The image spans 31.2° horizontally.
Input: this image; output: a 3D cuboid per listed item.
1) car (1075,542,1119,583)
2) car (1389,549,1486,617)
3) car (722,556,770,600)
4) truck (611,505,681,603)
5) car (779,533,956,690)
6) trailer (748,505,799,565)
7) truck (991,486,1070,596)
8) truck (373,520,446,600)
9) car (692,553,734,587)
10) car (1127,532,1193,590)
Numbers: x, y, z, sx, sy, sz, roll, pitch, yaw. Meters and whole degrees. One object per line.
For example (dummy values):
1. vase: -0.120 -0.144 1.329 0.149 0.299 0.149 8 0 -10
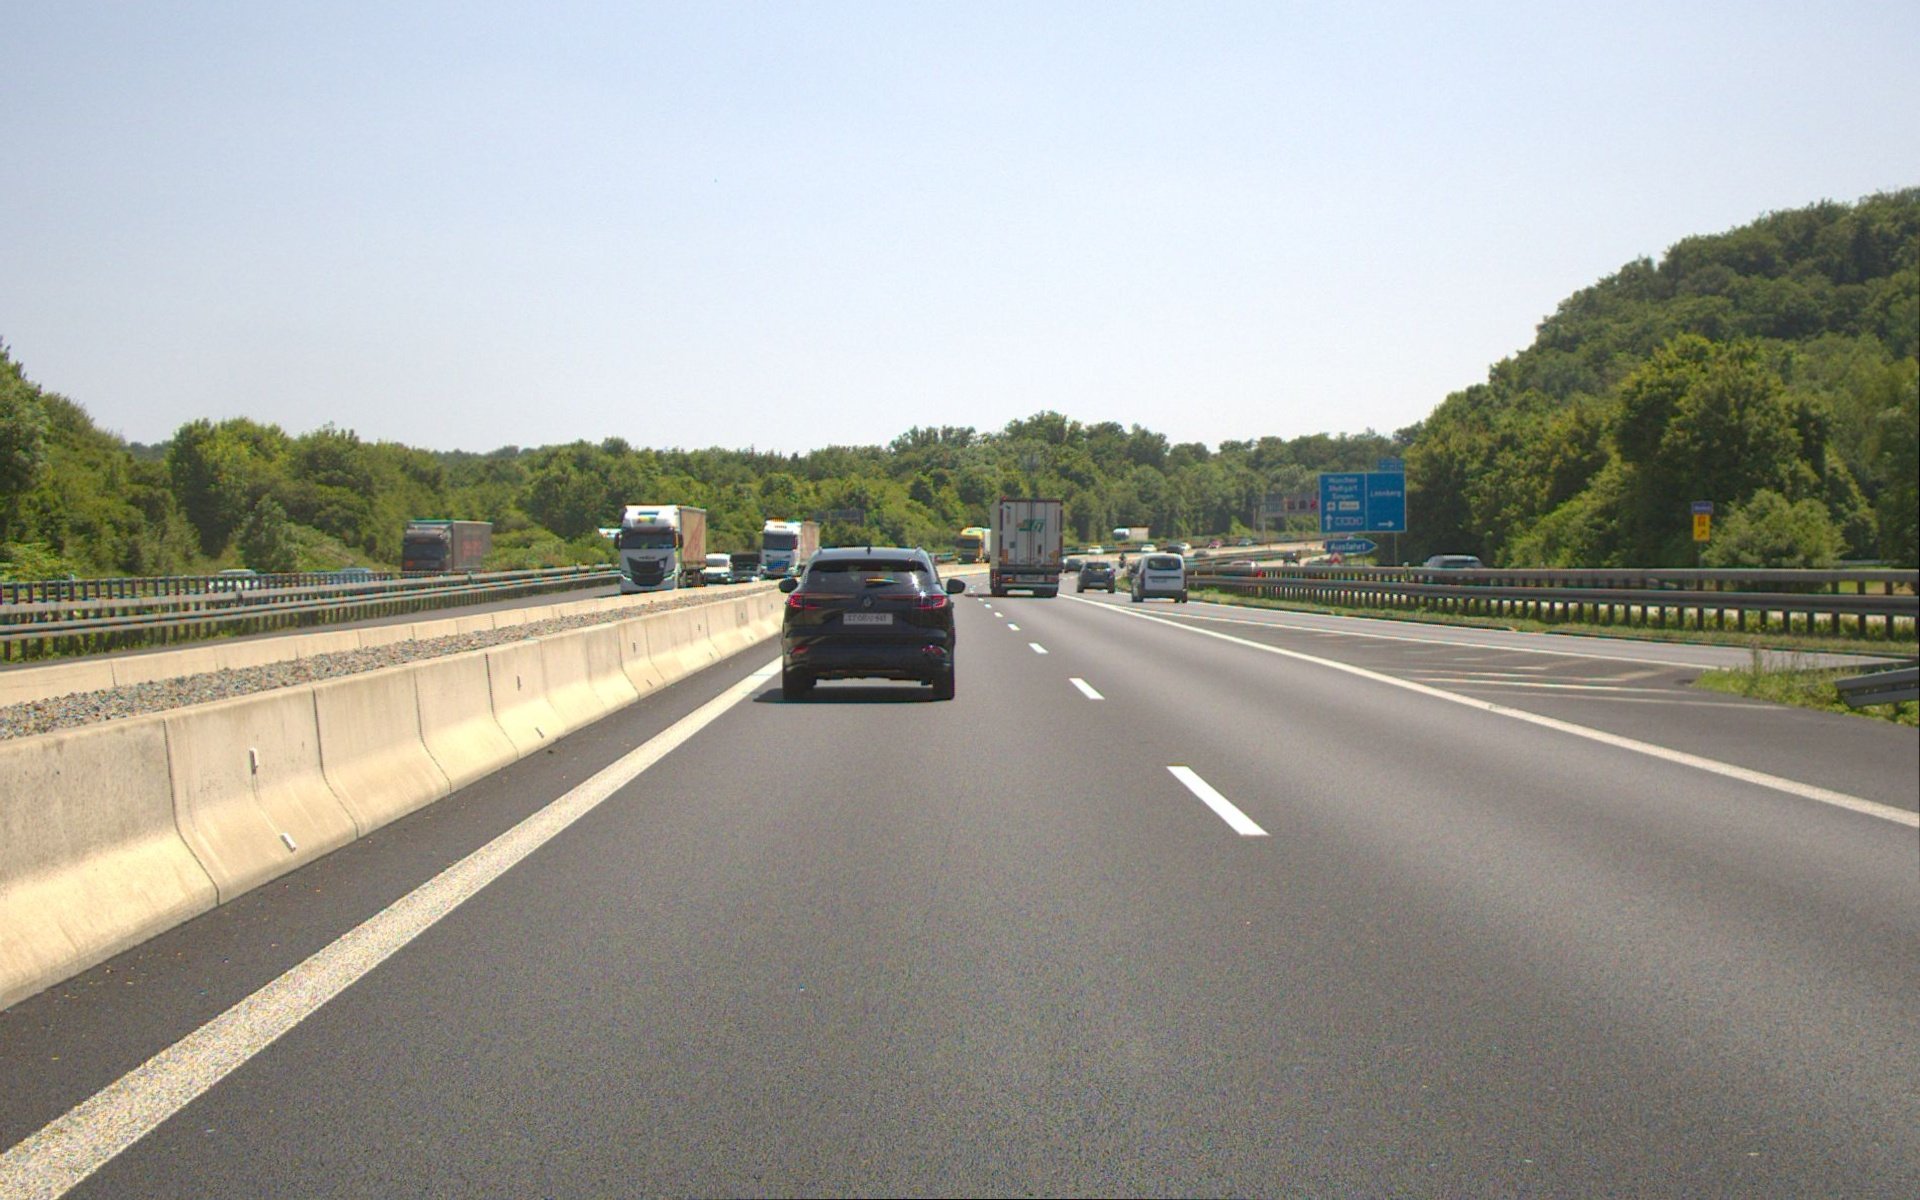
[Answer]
1. car: 6.798 -1.851 171.304 1.993 2.007 4.000 1 0 0
2. car: 14.829 -0.530 106.954 1.993 2.007 4.001 -2 1 -7
3. car: -9.968 -1.049 160.295 1.918 2.007 5.346 -1 1 0
4. truck: -13.936 -2.031 152.950 2.706 4.273 4.553 1 0 -1
5. car: -1.047 0.106 37.105 1.779 1.572 4.000 1 0 -3
6. trailer: -13.153 -4.544 243.266 2.910 4.031 12.063 1 0 0
7. truck: 3.029 -2.427 144.705 3.032 4.403 12.018 1 0 2
8. truck: -30.002 -2.192 187.499 2.810 4.258 4.998 1 0 3
9. car: -13.665 -1.643 190.273 1.742 1.820 4.903 1 0 2
10. car: 7.366 -1.441 126.884 1.993 2.007 4.000 -2 1 -2
